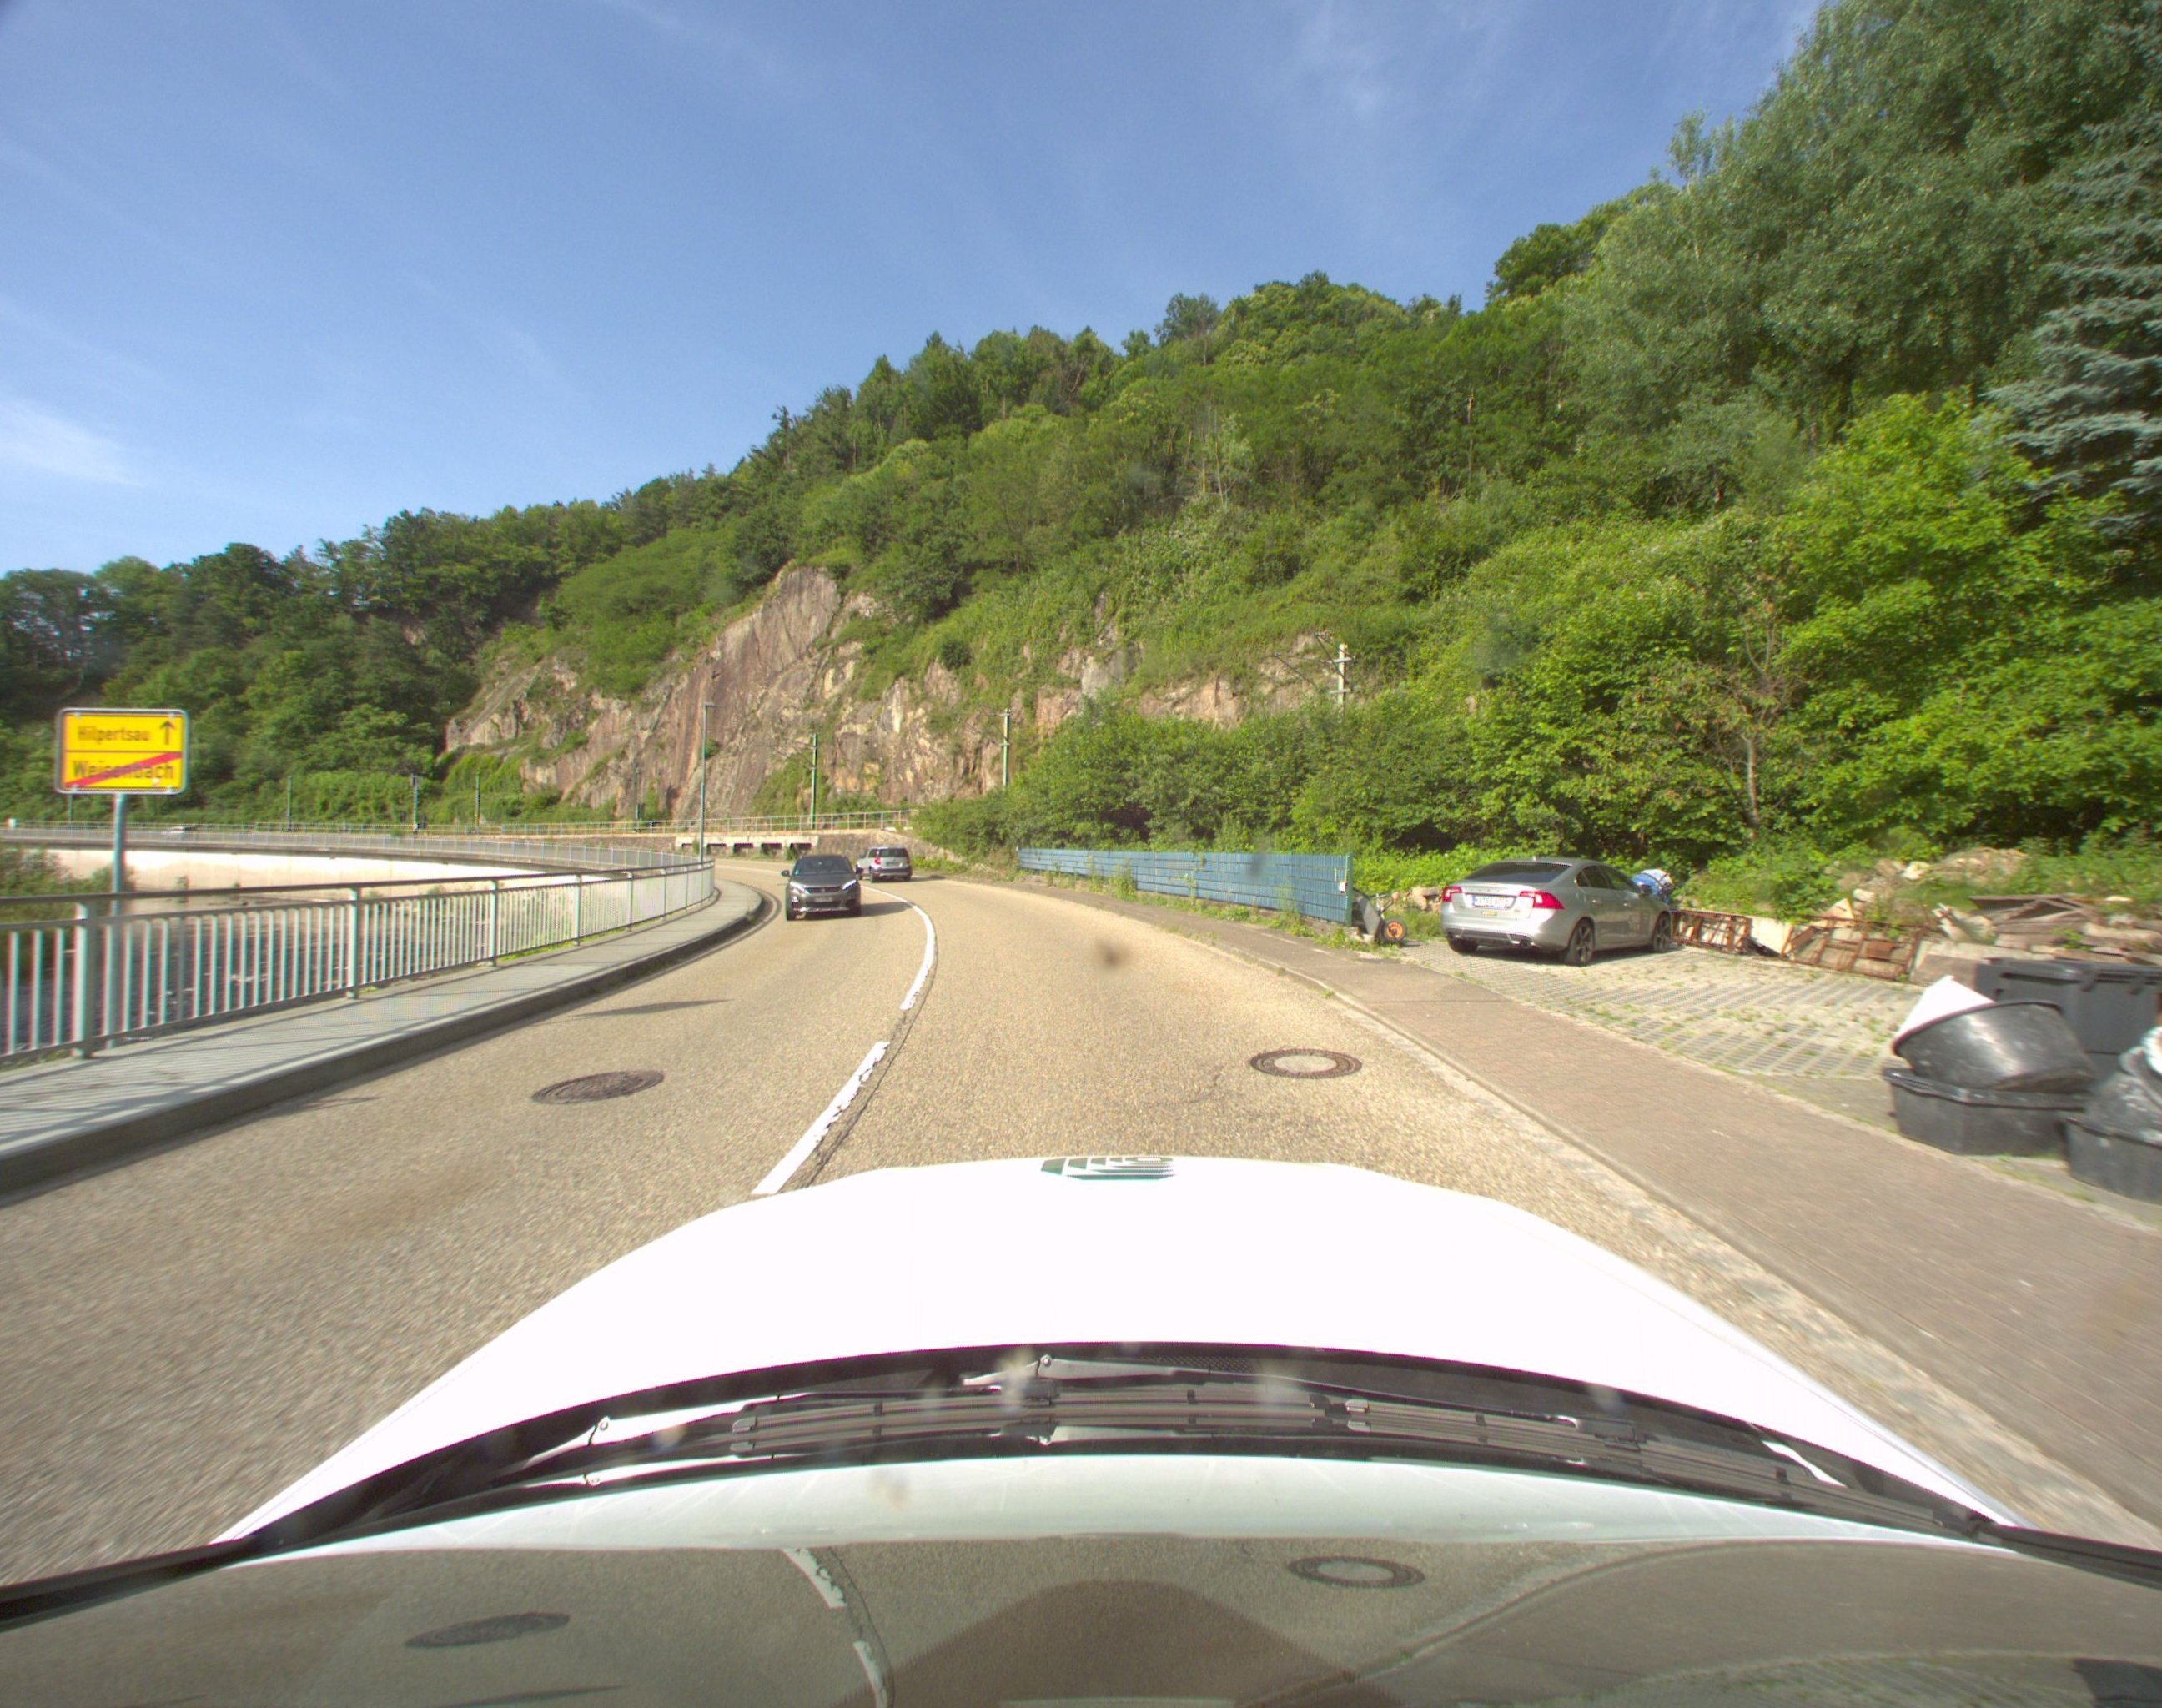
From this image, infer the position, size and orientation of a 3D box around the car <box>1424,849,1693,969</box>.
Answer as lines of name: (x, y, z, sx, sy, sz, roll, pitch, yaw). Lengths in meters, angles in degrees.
car: (7.241, 0.693, 12.215, 4.347, 1.469, 1.818, 0, 2, -35)

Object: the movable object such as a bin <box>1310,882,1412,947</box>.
movable object such as a bin: (4.545, 0.952, 13.446, 0.852, 0.847, 2.539, 2, 0, 2)

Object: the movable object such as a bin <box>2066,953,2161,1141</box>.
movable object such as a bin: (5.621, 0.997, 4.215, 0.367, 0.900, 0.546, 1, 0, -5)

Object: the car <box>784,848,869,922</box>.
car: (-6.883, 0.747, 21.775, 1.822, 1.643, 3.972, -5, 1, -21)

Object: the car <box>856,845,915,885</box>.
car: (-8.981, 0.432, 37.164, 1.882, 1.655, 3.968, -2, 2, -24)

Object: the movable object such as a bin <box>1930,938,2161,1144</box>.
movable object such as a bin: (5.135, 0.961, 4.368, 0.470, 0.937, 0.652, 1, 0, 1)

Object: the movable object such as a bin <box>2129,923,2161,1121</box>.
movable object such as a bin: (6.107, 0.922, 4.183, 0.475, 1.062, 0.753, 1, 0, 1)
